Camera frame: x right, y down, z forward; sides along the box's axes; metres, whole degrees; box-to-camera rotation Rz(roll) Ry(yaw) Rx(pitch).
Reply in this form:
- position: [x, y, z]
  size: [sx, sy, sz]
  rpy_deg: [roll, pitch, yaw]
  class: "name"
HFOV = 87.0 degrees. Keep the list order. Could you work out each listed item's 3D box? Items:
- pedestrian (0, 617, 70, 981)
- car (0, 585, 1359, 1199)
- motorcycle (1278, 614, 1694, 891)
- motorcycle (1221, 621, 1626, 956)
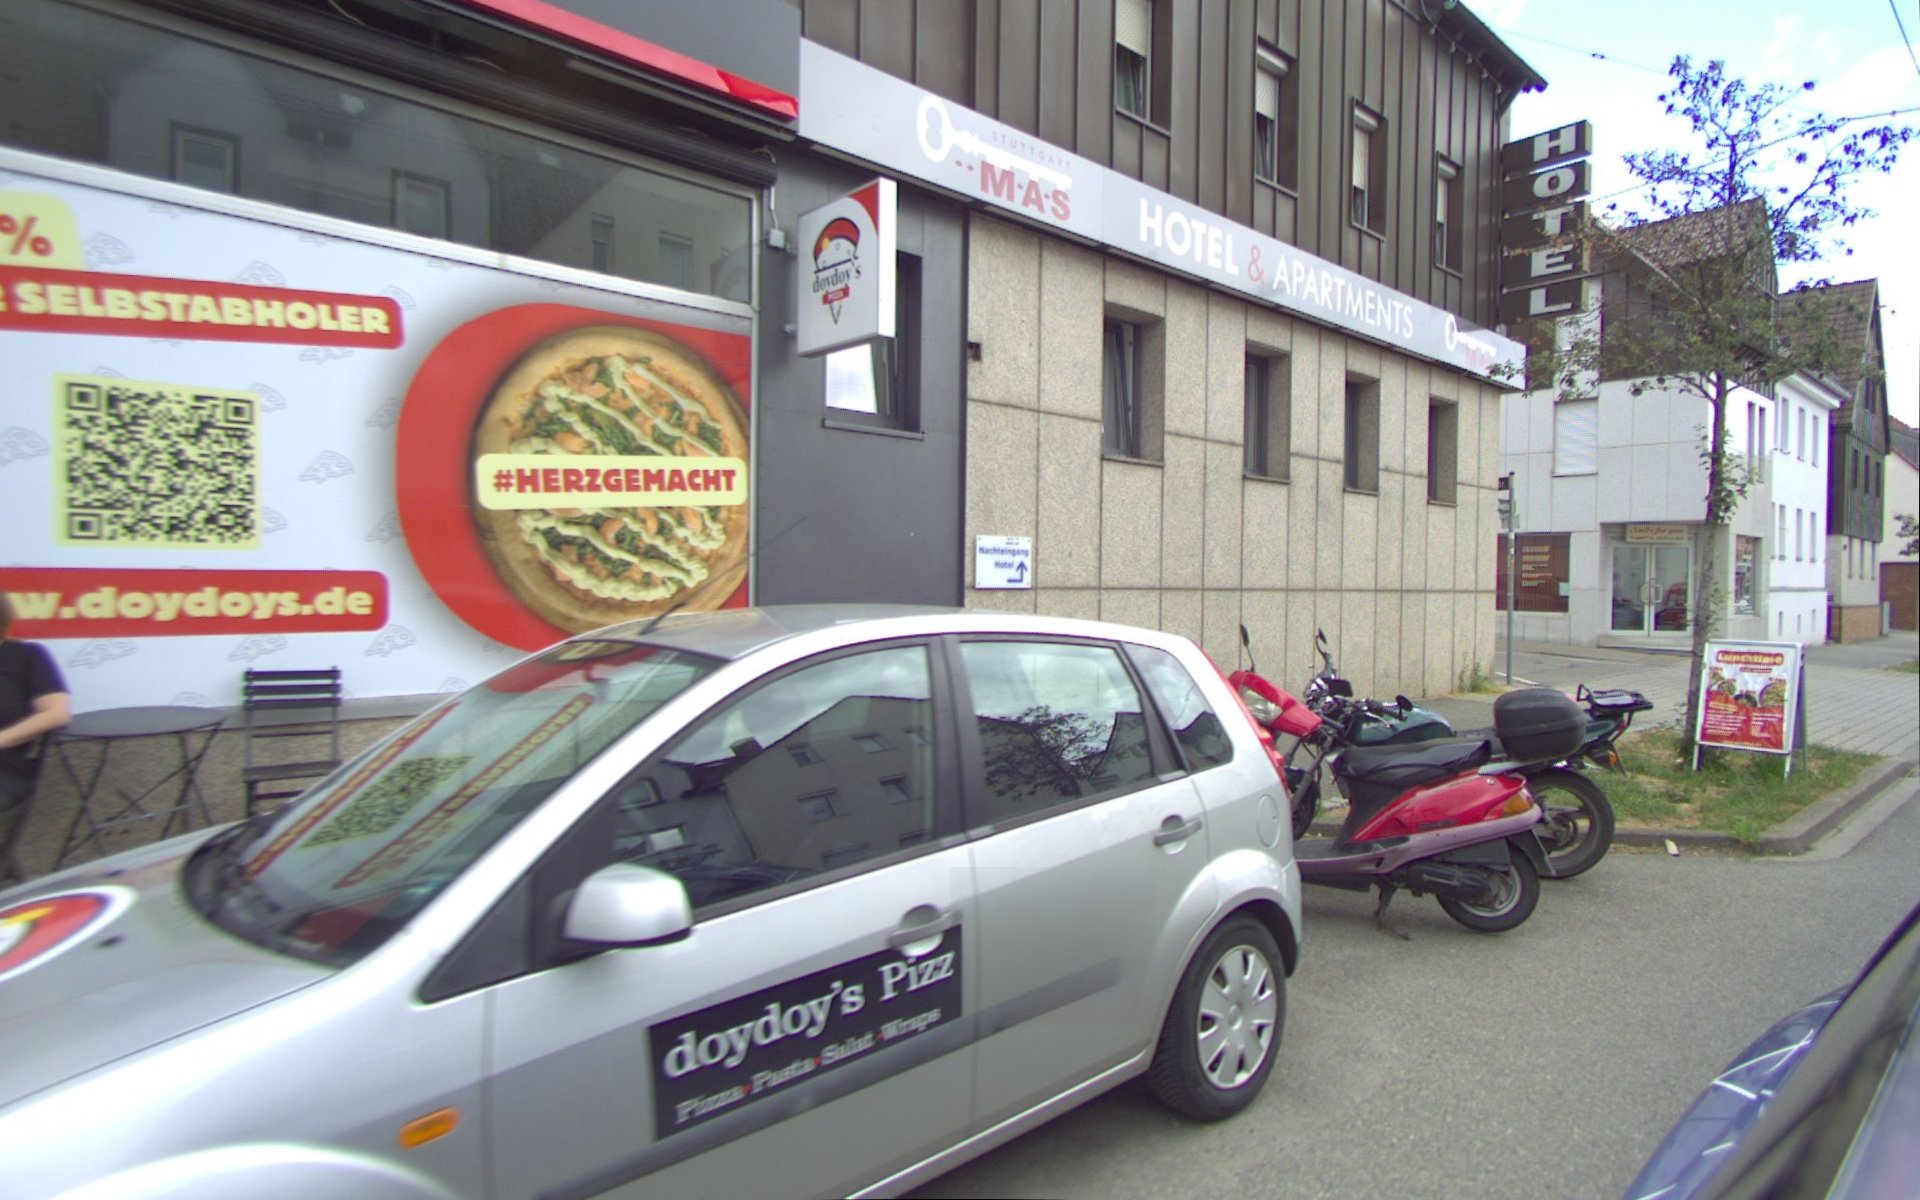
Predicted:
- position: [-3.688, 0.701, 3.697]
  size: [0.632, 1.226, 0.741]
  rpy_deg: [0, 2, -40]
  class: "pedestrian"
- position: [-0.711, 0.697, 2.590]
  size: [3.834, 1.460, 1.643]
  rpy_deg: [-1, 0, -41]
  class: "car"
- position: [2.664, 0.737, 5.307]
  size: [1.842, 1.308, 0.530]
  rpy_deg: [0, 0, 13]
  class: "motorcycle"
- position: [2.006, 0.760, 4.550]
  size: [1.567, 1.308, 0.498]
  rpy_deg: [0, 0, 21]
  class: "motorcycle"
